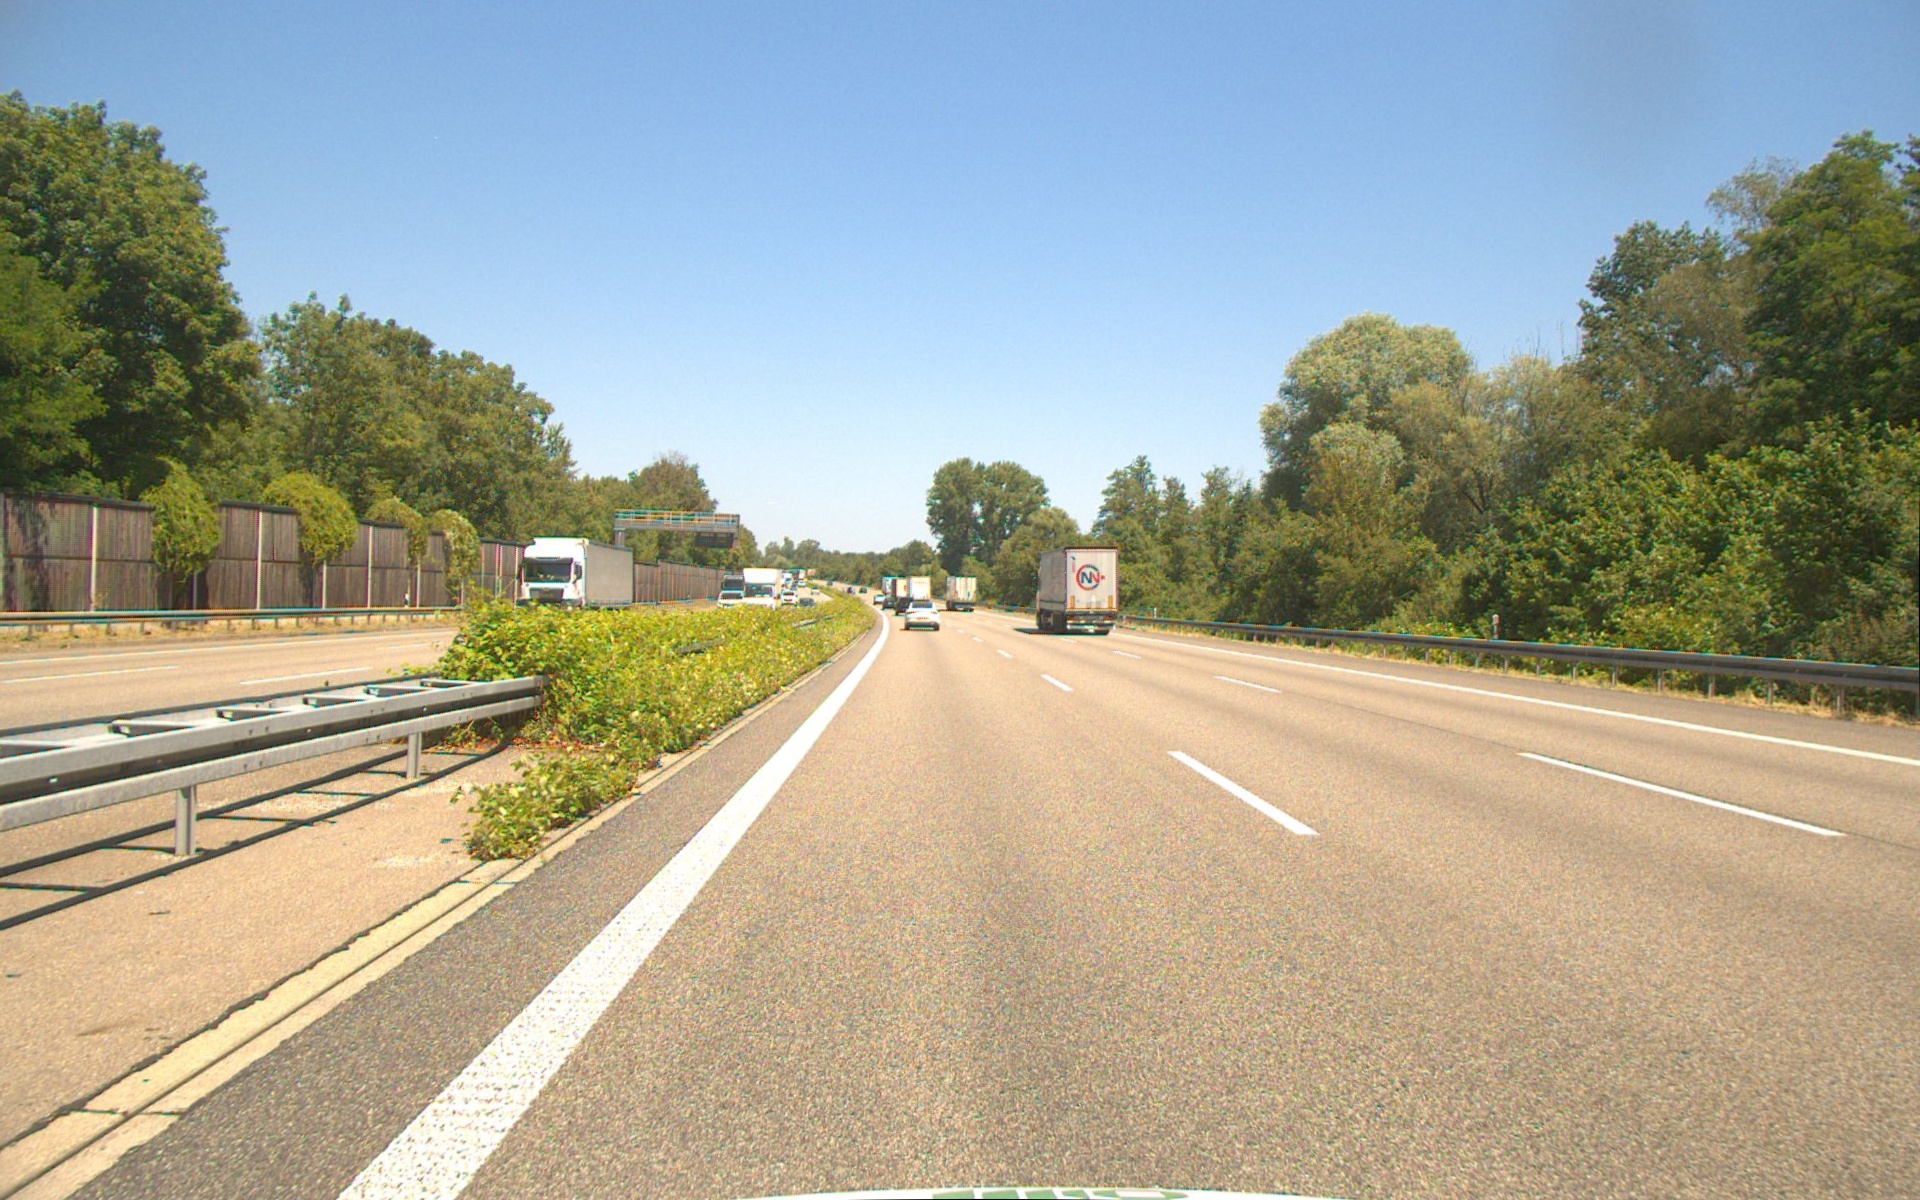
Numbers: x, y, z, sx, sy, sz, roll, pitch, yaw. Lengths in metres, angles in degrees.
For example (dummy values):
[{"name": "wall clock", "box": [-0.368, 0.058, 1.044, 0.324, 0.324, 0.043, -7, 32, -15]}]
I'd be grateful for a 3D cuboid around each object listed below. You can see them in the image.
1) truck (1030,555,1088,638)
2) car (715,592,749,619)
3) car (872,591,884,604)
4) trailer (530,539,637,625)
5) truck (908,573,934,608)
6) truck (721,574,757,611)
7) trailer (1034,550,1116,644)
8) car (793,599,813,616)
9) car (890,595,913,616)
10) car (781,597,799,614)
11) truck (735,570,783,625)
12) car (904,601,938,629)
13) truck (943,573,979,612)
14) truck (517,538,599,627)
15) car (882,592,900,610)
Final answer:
[{"name": "truck", "box": [5.404, -0.189, 90.854, 2.554, 4.362, 5.433, 1, 0, -3]}, {"name": "car", "box": [-15.759, 0.368, 114.630, 1.830, 1.852, 4.815, 1, 0, -2]}, {"name": "car", "box": [-12.317, -0.396, 248.196, 1.690, 1.814, 3.996, 1, 0, -5]}, {"name": "trailer", "box": [-18.883, -0.863, 83.894, 2.674, 3.978, 13.756, 1, 0, -2]}, {"name": "truck", "box": [-5.134, -1.196, 214.856, 3.292, 4.386, 10.824, 1, 0, -2]}, {"name": "truck", "box": [-23.086, -0.766, 173.095, 2.812, 3.668, 9.947, 1, 0, -2]}, {"name": "trailer", "box": [5.683, -0.142, 84.175, 2.571, 4.335, 14.053, 1, 0, -3]}, {"name": "car", "box": [-13.613, 0.644, 143.484, 1.593, 1.414, 3.911, 1, 0, -3]}, {"name": "car", "box": [-5.416, 0.491, 153.053, 1.954, 1.803, 3.997, 1, 0, -4]}, {"name": "car", "box": [-21.913, 0.687, 213.397, 1.954, 2.049, 5.099, 1, 0, -3]}, {"name": "truck", "box": [-12.207, -0.149, 101.089, 2.149, 3.169, 8.530, 1, 0, -2]}, {"name": "car", "box": [-2.007, 0.755, 86.118, 1.680, 1.393, 3.375, 1, 0, 0]}, {"name": "truck", "box": [0.055, -0.880, 194.411, 3.423, 4.386, 10.980, 1, 0, -4]}, {"name": "truck", "box": [-18.635, -0.783, 76.961, 2.632, 3.963, 5.571, 1, 0, -2]}, {"name": "car", "box": [-8.144, 0.074, 195.434, 1.955, 2.049, 3.996, 1, 0, -5]}]
